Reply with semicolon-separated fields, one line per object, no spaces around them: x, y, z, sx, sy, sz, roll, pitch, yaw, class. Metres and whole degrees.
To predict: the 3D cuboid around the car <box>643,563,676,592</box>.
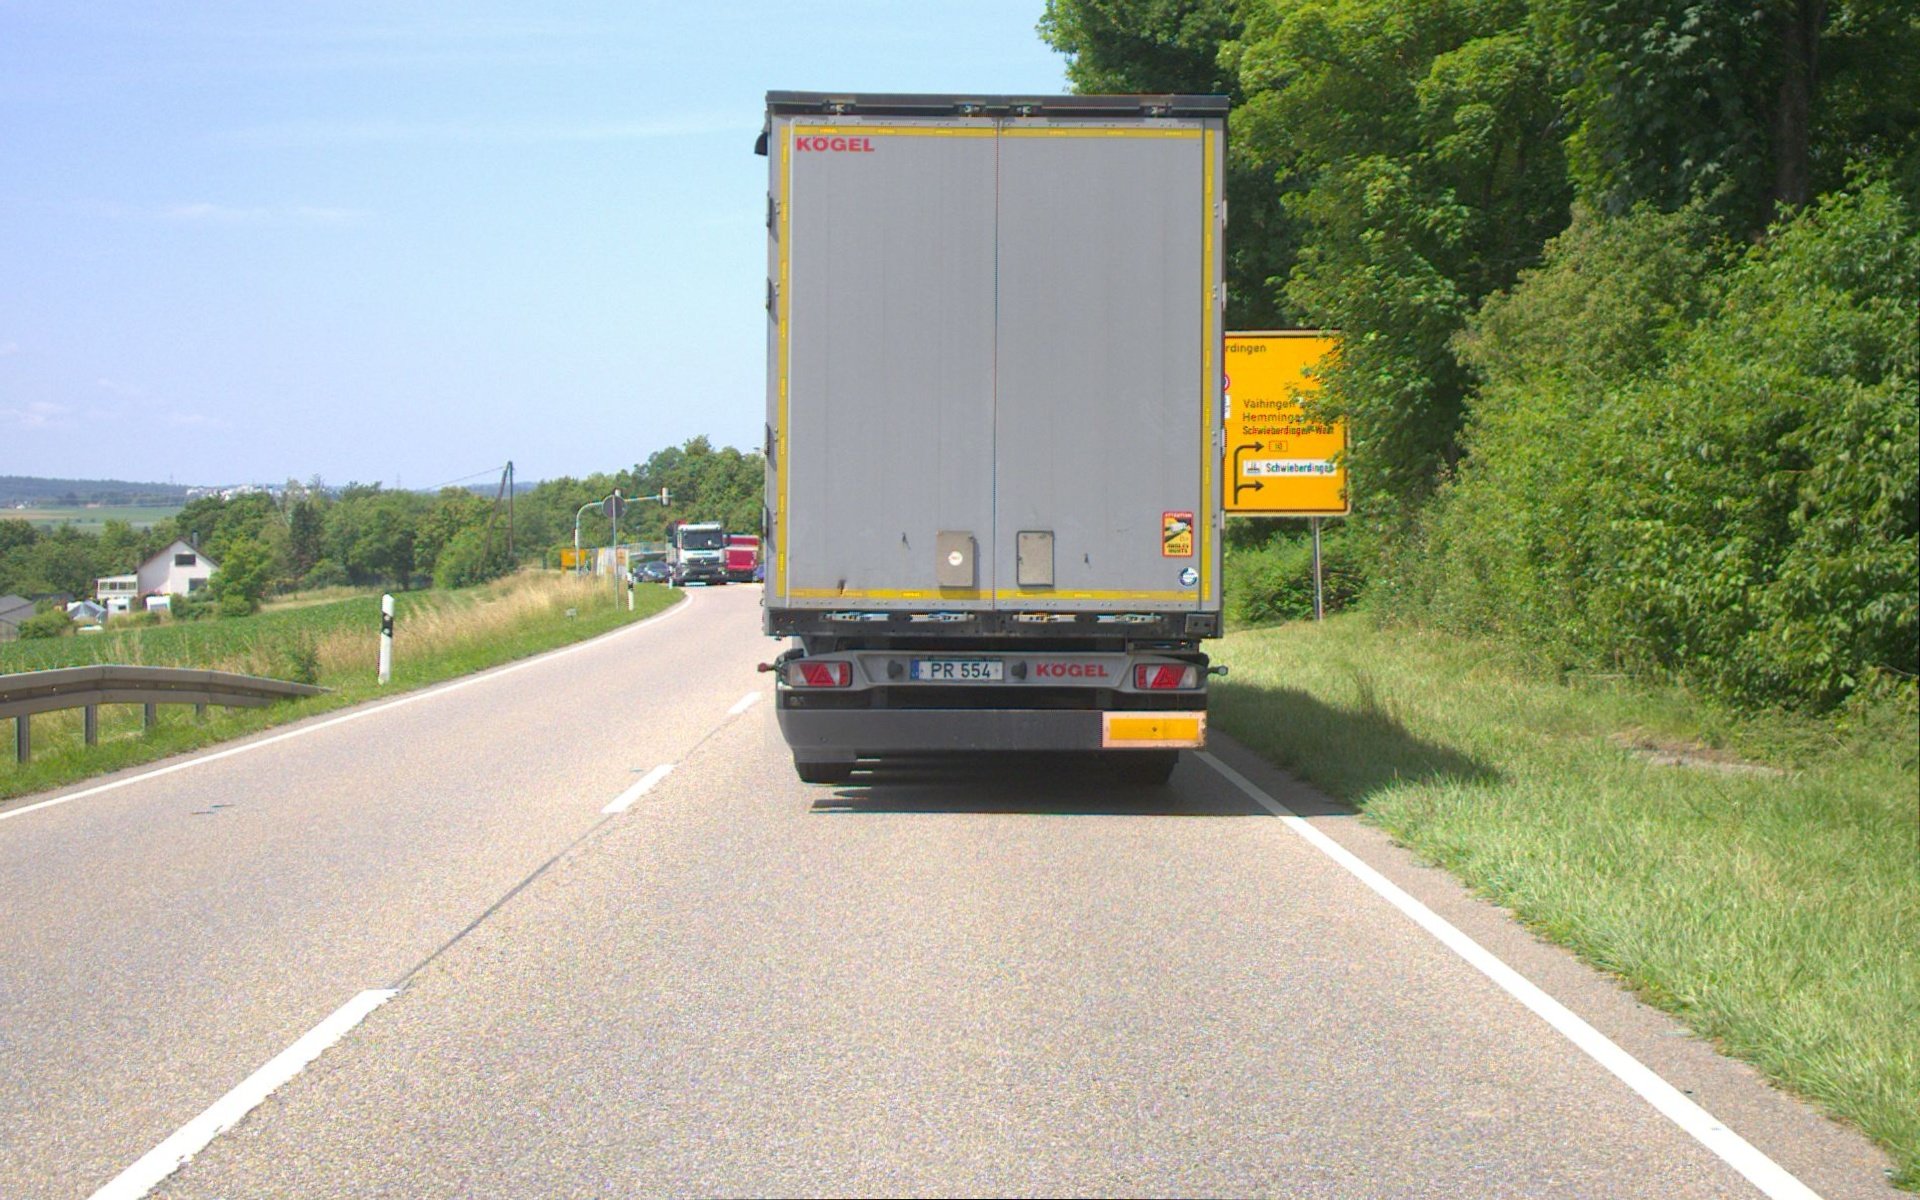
-21.103;-1.556;241.200;1.993;1.943;4.504;-3;1;-8;car

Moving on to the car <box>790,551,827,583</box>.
-8.917;-1.922;202.226;1.892;1.771;4.387;-2;1;-6;car

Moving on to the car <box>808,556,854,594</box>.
-7.057;-1.372;188.125;2.171;2.007;4.527;-2;1;-6;car

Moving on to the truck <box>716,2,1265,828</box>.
0.032;-1.059;22.842;2.907;4.395;8.861;0;1;-2;truck

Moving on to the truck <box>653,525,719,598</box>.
-14.378;-1.947;179.724;2.756;3.564;11.067;-3;0;-7;truck
